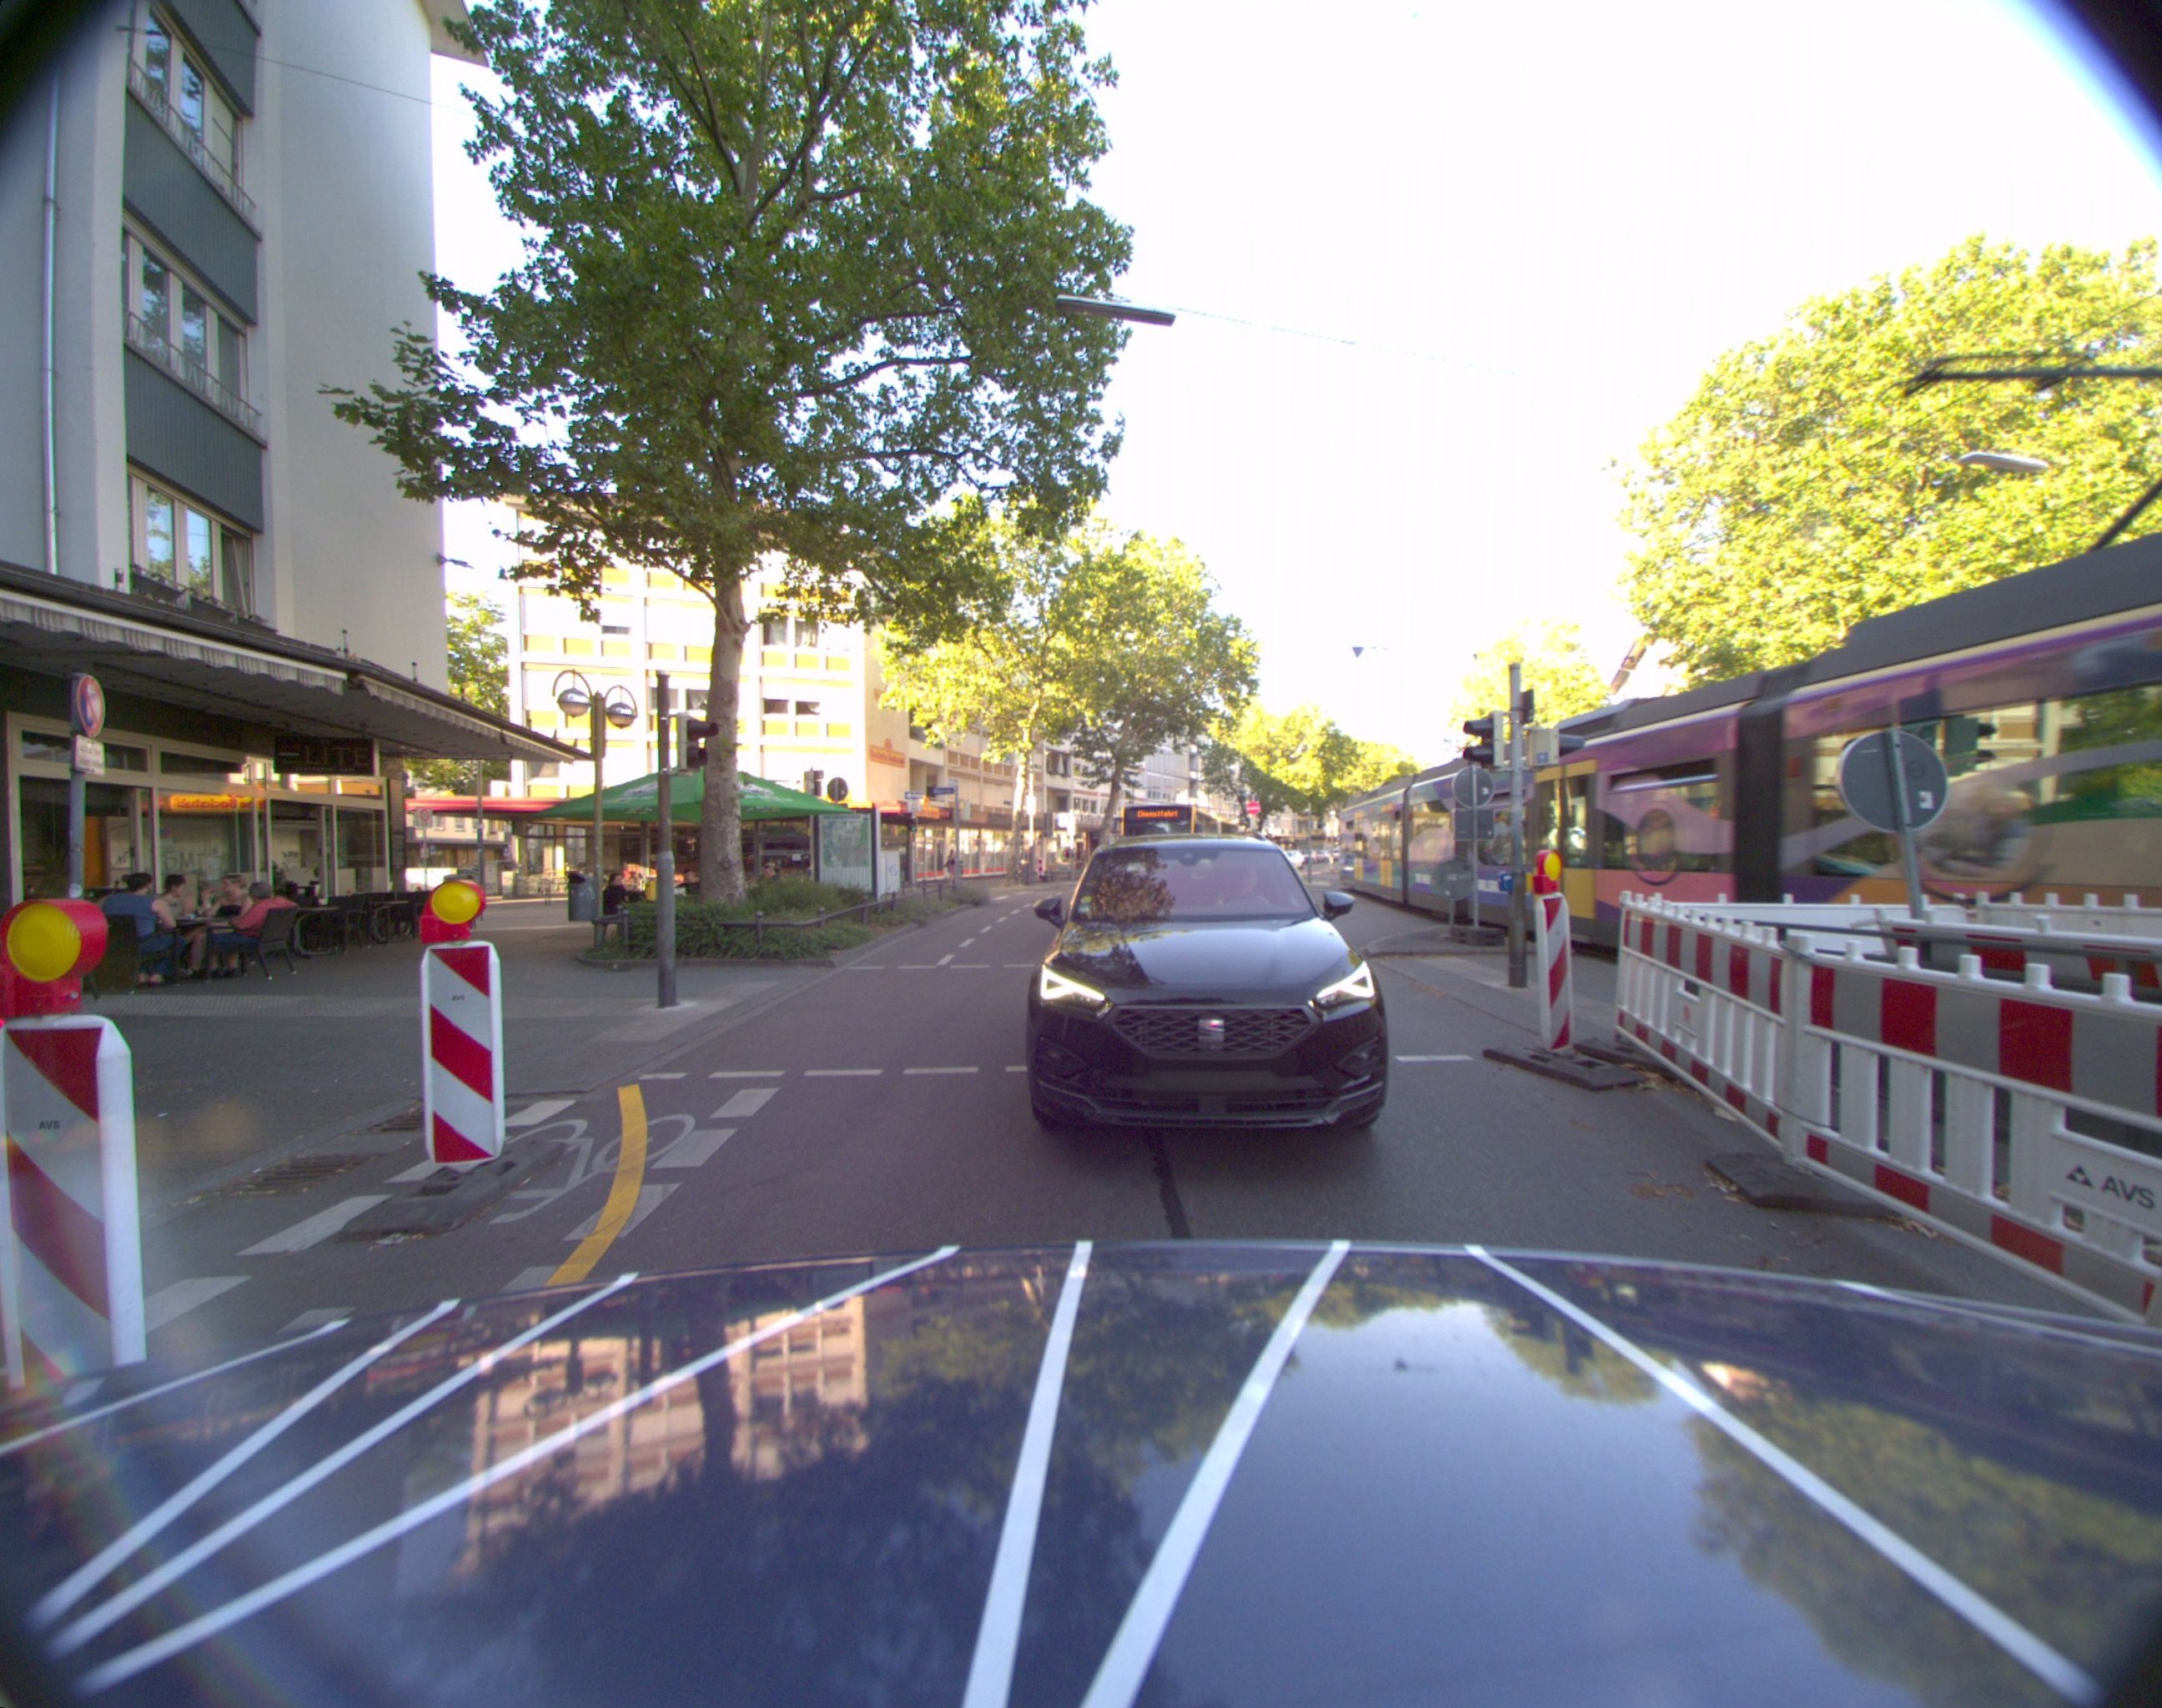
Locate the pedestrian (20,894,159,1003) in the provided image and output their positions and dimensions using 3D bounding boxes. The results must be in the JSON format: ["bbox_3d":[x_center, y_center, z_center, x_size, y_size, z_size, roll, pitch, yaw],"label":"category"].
[{"bbox_3d":[-11.090,1.027,8.529,0.718,1.123,0.649,1,0,-24],"label":"pedestrian"}]

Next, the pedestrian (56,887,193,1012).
[{"bbox_3d":[-10.224,0.984,8.155,0.651,1.244,0.716,0,0,-24],"label":"pedestrian"}]

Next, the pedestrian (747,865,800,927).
[{"bbox_3d":[-6.546,0.885,16.191,0.718,1.278,0.769,-1,1,13],"label":"pedestrian"}]

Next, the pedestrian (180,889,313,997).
[{"bbox_3d":[-9.851,1.019,9.005,0.847,1.191,0.649,1,0,-22],"label":"pedestrian"}]

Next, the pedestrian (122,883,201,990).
[{"bbox_3d":[-11.247,0.987,9.298,0.519,1.236,0.553,0,0,34],"label":"pedestrian"}]

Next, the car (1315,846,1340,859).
[{"bbox_3d":[29.780,-0.173,91.862,2.627,1.464,1.201,-1,2,3],"label":"car"}]

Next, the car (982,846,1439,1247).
[{"bbox_3d":[0.681,0.802,5.318,1.848,1.648,4.300,-2,0,4],"label":"car"}]

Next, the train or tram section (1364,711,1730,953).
[{"bbox_3d":[8.674,-0.345,16.221,2.876,3.467,10.344,-1,1,9],"label":"train or tram section"}]

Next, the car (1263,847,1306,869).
[{"bbox_3d":[15.748,0.269,58.498,1.952,1.541,4.765,0,2,31],"label":"car"}]

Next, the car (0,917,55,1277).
[{"bbox_3d":[-5.157,0.992,1.432,1.623,1.457,3.604,2,0,-2],"label":"car"}]

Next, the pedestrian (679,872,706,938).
[{"bbox_3d":[-7.416,0.960,14.490,0.433,1.212,0.467,0,1,-29],"label":"pedestrian"}]

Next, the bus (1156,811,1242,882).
[{"bbox_3d":[6.154,-0.369,38.084,2.749,3.085,9.509,0,1,18],"label":"bus"}]

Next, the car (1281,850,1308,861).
[{"bbox_3d":[23.912,0.136,85.032,2.629,1.209,1.200,-1,2,-6],"label":"car"}]

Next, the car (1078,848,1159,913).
[{"bbox_3d":[1.097,0.623,20.157,1.743,1.492,4.301,-2,0,7],"label":"car"}]

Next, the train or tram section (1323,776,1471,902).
[{"bbox_3d":[10.436,-0.471,26.313,2.840,3.467,10.347,-1,1,12],"label":"train or tram section"}]

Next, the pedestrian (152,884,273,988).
[{"bbox_3d":[-10.697,0.986,9.385,0.666,1.211,0.717,0,0,-5],"label":"pedestrian"}]

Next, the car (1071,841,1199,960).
[{"bbox_3d":[0.965,0.641,12.793,1.743,1.630,4.300,-2,0,6],"label":"car"}]

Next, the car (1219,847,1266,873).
[{"bbox_3d":[10.231,0.367,47.915,1.908,1.467,4.425,0,2,26],"label":"car"}]

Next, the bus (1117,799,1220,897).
[{"bbox_3d":[3.626,-0.232,29.056,2.750,3.085,9.506,0,1,14],"label":"bus"}]

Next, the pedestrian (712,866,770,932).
[{"bbox_3d":[-6.813,0.888,15.267,0.718,1.278,0.769,-1,1,14],"label":"pedestrian"}]

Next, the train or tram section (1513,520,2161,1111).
[{"bbox_3d":[7.778,-0.258,6.037,2.842,3.467,10.337,-1,1,0],"label":"train or tram section"}]

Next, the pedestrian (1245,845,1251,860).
[{"bbox_3d":[19.355,-0.174,88.266,0.516,1.647,0.571,0,1,28],"label":"pedestrian"}]

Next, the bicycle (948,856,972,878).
[{"bbox_3d":[-6.676,0.696,42.039,0.528,1.136,1.976,-1,1,15],"label":"bicycle"}]

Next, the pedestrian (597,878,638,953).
[{"bbox_3d":[-7.785,1.011,12.755,0.469,1.212,0.431,-2,1,-44],"label":"pedestrian"}]

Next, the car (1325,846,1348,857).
[{"bbox_3d":[32.895,-0.322,97.847,2.627,1.274,1.201,-1,2,3],"label":"car"}]

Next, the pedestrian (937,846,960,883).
[{"bbox_3d":[-6.355,0.482,36.533,0.748,1.747,0.903,0,1,17],"label":"pedestrian"}]
